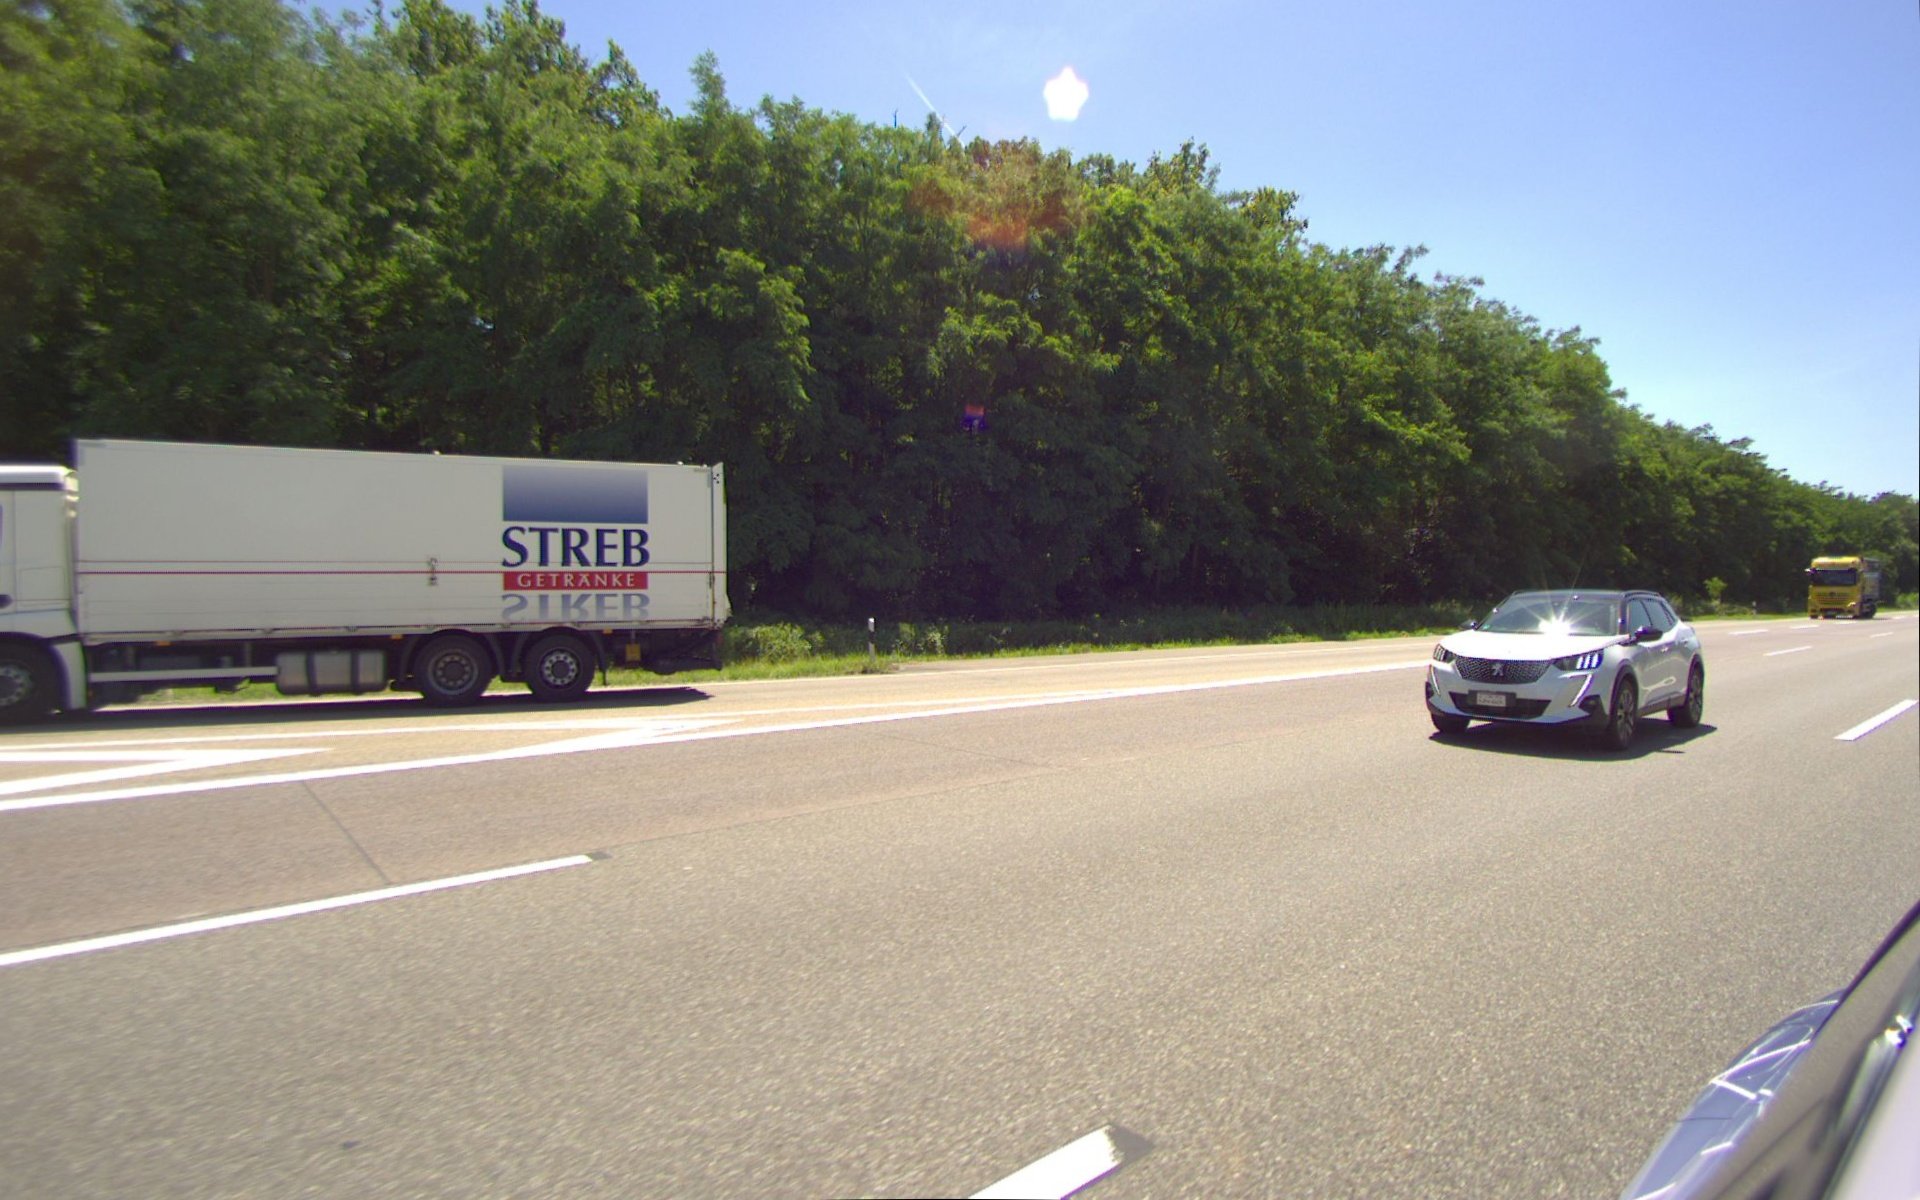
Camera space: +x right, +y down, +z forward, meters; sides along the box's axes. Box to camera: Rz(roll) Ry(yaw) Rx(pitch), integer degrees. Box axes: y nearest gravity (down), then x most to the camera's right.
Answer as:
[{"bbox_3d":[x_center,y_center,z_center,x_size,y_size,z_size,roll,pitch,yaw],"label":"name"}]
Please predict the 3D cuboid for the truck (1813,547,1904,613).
[{"bbox_3d":[59.711,-1.283,67.139,10.787,4.088,2.980,-1,0,-40],"label":"truck"}]

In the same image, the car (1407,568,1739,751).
[{"bbox_3d":[6.948,0.494,11.239,4.725,1.628,1.830,-1,1,-41],"label":"car"}]

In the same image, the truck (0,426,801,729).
[{"bbox_3d":[-7.783,-0.287,14.257,10.547,3.361,3.043,0,0,-25],"label":"truck"}]
